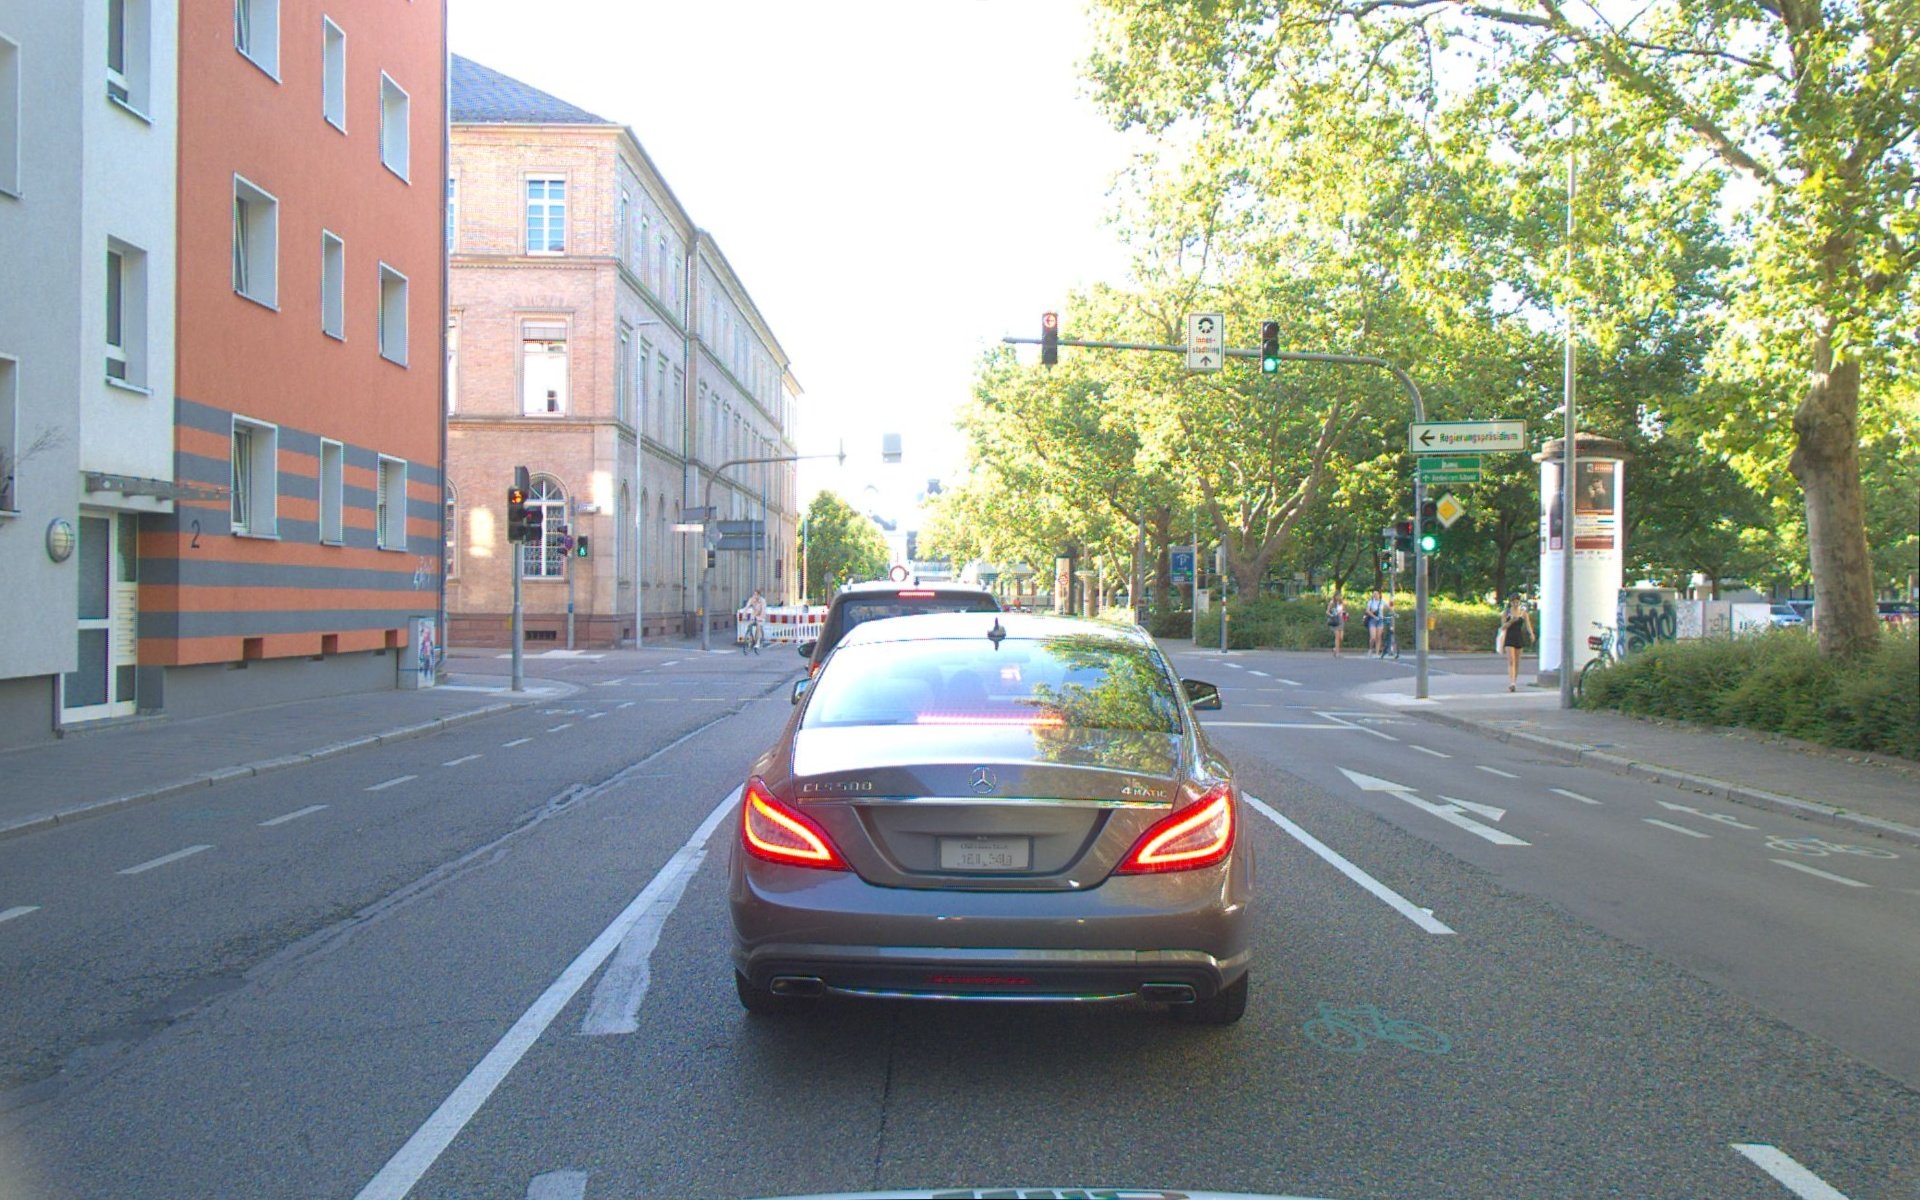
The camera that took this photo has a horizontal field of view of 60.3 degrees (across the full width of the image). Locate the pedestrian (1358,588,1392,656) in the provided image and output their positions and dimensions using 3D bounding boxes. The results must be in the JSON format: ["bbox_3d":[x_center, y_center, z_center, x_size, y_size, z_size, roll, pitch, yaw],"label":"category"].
[{"bbox_3d":[10.778,0.575,42.992,0.669,1.727,0.971,1,0,2],"label":"pedestrian"}]

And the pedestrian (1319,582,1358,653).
[{"bbox_3d":[9.843,0.463,43.046,0.718,1.840,0.908,0,-1,-6],"label":"pedestrian"}]

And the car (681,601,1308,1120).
[{"bbox_3d":[0.280,0.757,7.060,1.804,1.454,4.520,1,0,5],"label":"car"}]

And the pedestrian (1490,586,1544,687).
[{"bbox_3d":[9.335,0.611,27.755,0.781,1.659,0.908,-1,-1,16],"label":"pedestrian"}]

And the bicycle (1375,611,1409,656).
[{"bbox_3d":[11.200,0.863,42.947,0.513,1.119,1.742,1,0,3],"label":"bicycle"}]

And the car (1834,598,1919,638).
[{"bbox_3d":[36.273,0.685,65.143,1.596,1.508,3.794,1,0,-2],"label":"car"}]

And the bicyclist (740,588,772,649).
[{"bbox_3d":[-5.361,0.483,43.526,0.634,1.586,0.807,1,-1,7],"label":"bicyclist"}]

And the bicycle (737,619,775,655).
[{"bbox_3d":[-5.354,0.954,43.485,0.536,0.906,1.869,1,0,7],"label":"bicycle"}]

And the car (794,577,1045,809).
[{"bbox_3d":[-0.260,0.666,13.716,1.772,1.641,4.000,0,0,1],"label":"car"}]

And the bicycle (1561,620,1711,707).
[{"bbox_3d":[9.703,0.907,23.755,1.936,1.210,0.528,1,-1,-2],"label":"bicycle"}]
